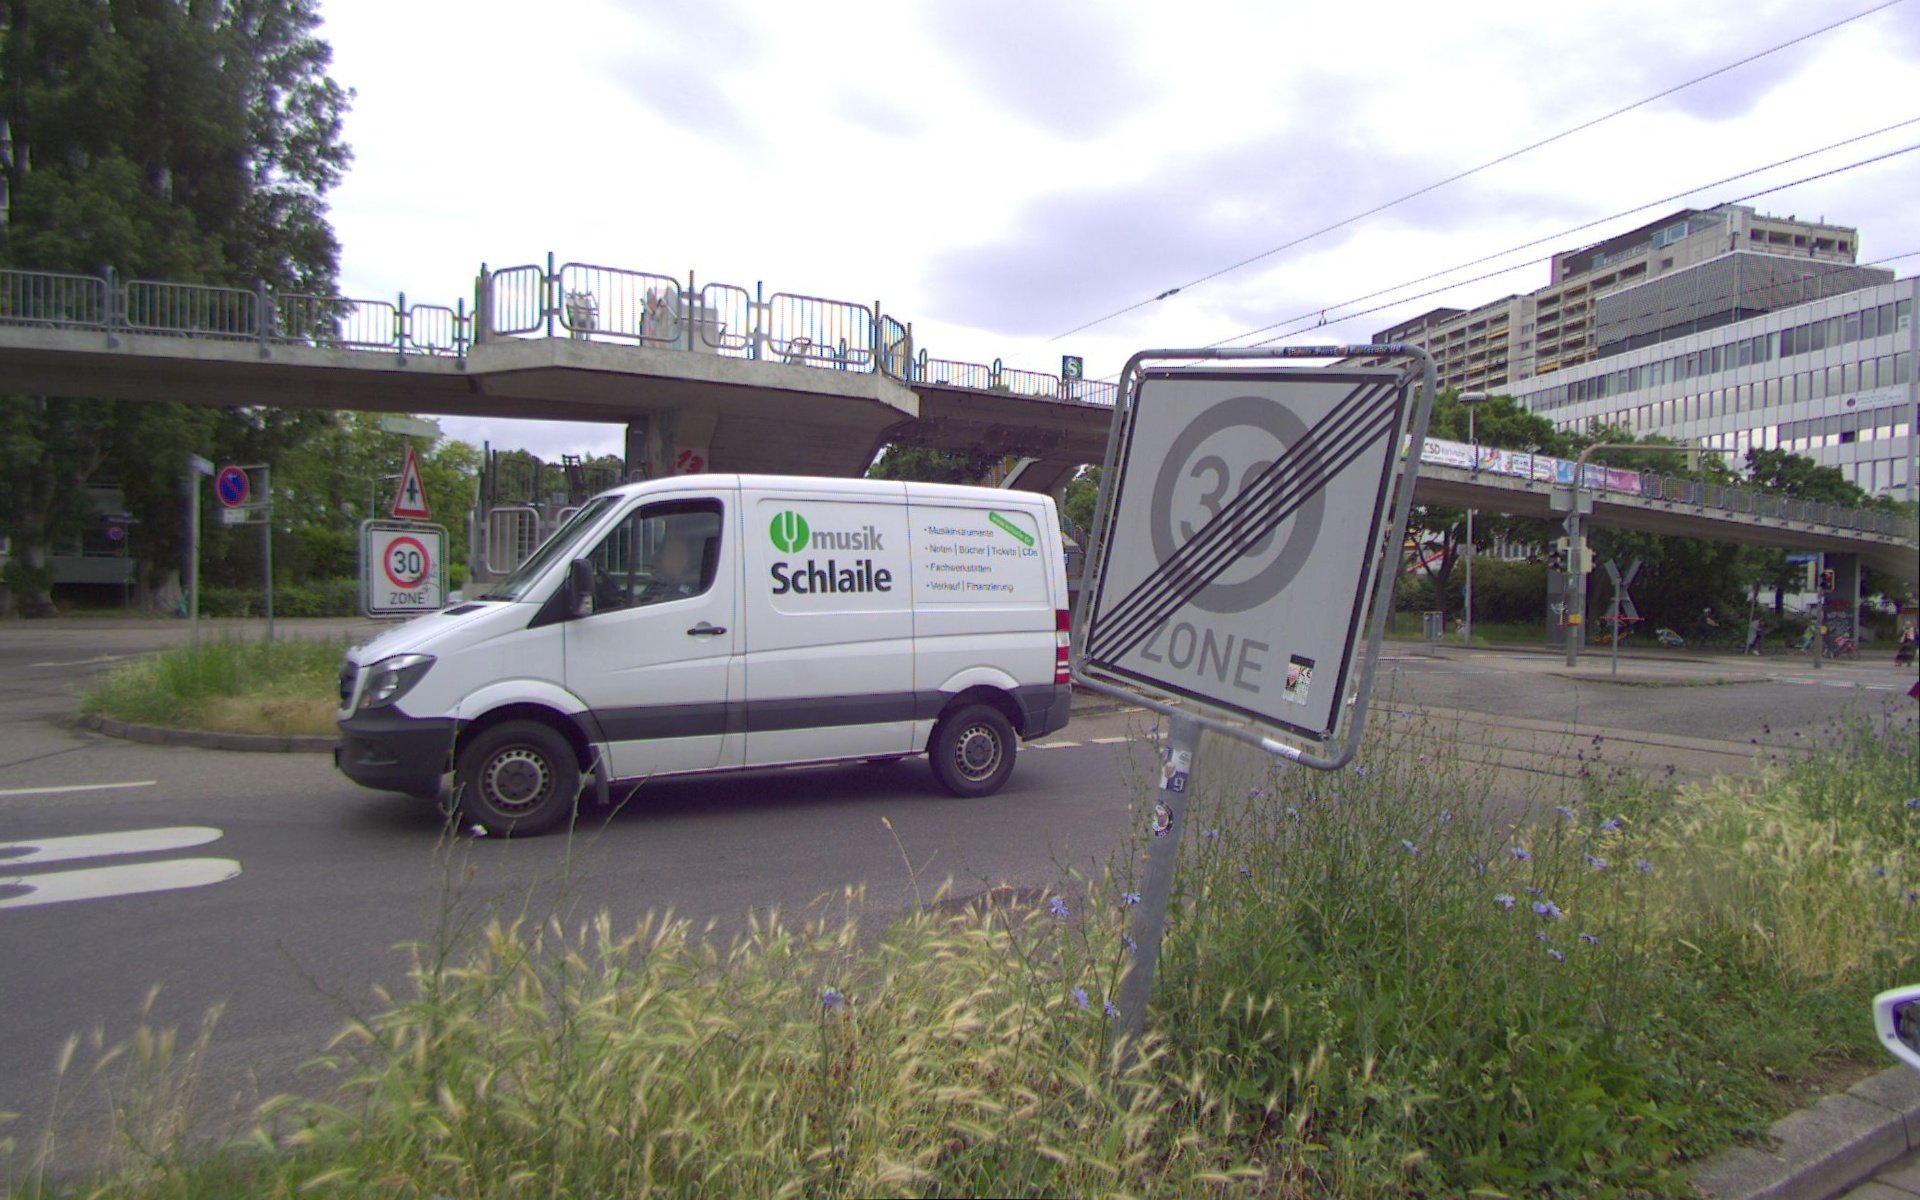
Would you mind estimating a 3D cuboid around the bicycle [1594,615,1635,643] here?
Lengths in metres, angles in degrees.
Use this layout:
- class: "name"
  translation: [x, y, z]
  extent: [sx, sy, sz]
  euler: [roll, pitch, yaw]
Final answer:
- class: "bicycle"
  translation: [33.016, 1.440, 50.670]
  extent: [0.386, 1.321, 1.689]
  euler: [1, 1, -41]

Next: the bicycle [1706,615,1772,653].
- class: "bicycle"
  translation: [36.105, 1.568, 46.606]
  extent: [0.523, 1.647, 2.340]
  euler: [1, 0, -38]

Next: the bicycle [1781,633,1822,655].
- class: "bicycle"
  translation: [38.452, 1.988, 45.882]
  extent: [2.493, 0.938, 0.628]
  euler: [1, 1, -31]

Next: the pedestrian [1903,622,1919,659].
- class: "pedestrian"
  translation: [41.226, 1.744, 43.455]
  extent: [0.572, 1.600, 0.777]
  euler: [2, 0, 42]

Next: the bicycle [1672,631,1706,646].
- class: "bicycle"
  translation: [35.442, 1.867, 48.841]
  extent: [1.273, 0.701, 0.290]
  euler: [1, 1, 25]

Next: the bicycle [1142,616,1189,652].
- class: "bicycle"
  translation: [5.843, 0.961, 28.657]
  extent: [0.368, 0.934, 2.029]
  euler: [1, 0, -18]

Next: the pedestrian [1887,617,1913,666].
- class: "pedestrian"
  translation: [33.246, 1.461, 35.514]
  extent: [0.402, 1.714, 0.612]
  euler: [1, 1, -43]

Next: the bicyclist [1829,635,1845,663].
- class: "bicyclist"
  translation: [38.555, 2.135, 44.167]
  extent: [0.372, 1.197, 0.403]
  euler: [0, 1, -28]

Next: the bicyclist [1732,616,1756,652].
- class: "bicyclist"
  translation: [36.241, 1.572, 46.427]
  extent: [0.523, 1.647, 0.742]
  euler: [1, 1, -38]

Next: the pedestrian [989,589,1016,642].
- class: "pedestrian"
  translation: [1.344, 0.488, 31.959]
  extent: [0.593, 1.664, 0.659]
  euler: [1, 1, -25]

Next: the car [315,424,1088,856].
- class: "car"
  translation: [-1.736, 0.259, 7.621]
  extent: [5.146, 2.323, 2.124]
  euler: [1, 0, -30]

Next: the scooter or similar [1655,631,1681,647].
- class: "scooter or similar"
  translation: [34.676, 1.906, 49.180]
  extent: [0.978, 0.724, 0.406]
  euler: [1, 0, 26]

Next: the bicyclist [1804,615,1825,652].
- class: "bicyclist"
  translation: [38.721, 1.524, 45.531]
  extent: [0.525, 1.666, 0.562]
  euler: [2, 0, -29]

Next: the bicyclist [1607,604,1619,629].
- class: "bicyclist"
  translation: [32.989, 0.822, 50.731]
  extent: [0.275, 1.270, 0.402]
  euler: [1, 1, -40]

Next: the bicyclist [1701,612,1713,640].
- class: "bicyclist"
  translation: [36.125, 1.259, 48.562]
  extent: [0.376, 1.321, 0.278]
  euler: [1, 1, 24]
